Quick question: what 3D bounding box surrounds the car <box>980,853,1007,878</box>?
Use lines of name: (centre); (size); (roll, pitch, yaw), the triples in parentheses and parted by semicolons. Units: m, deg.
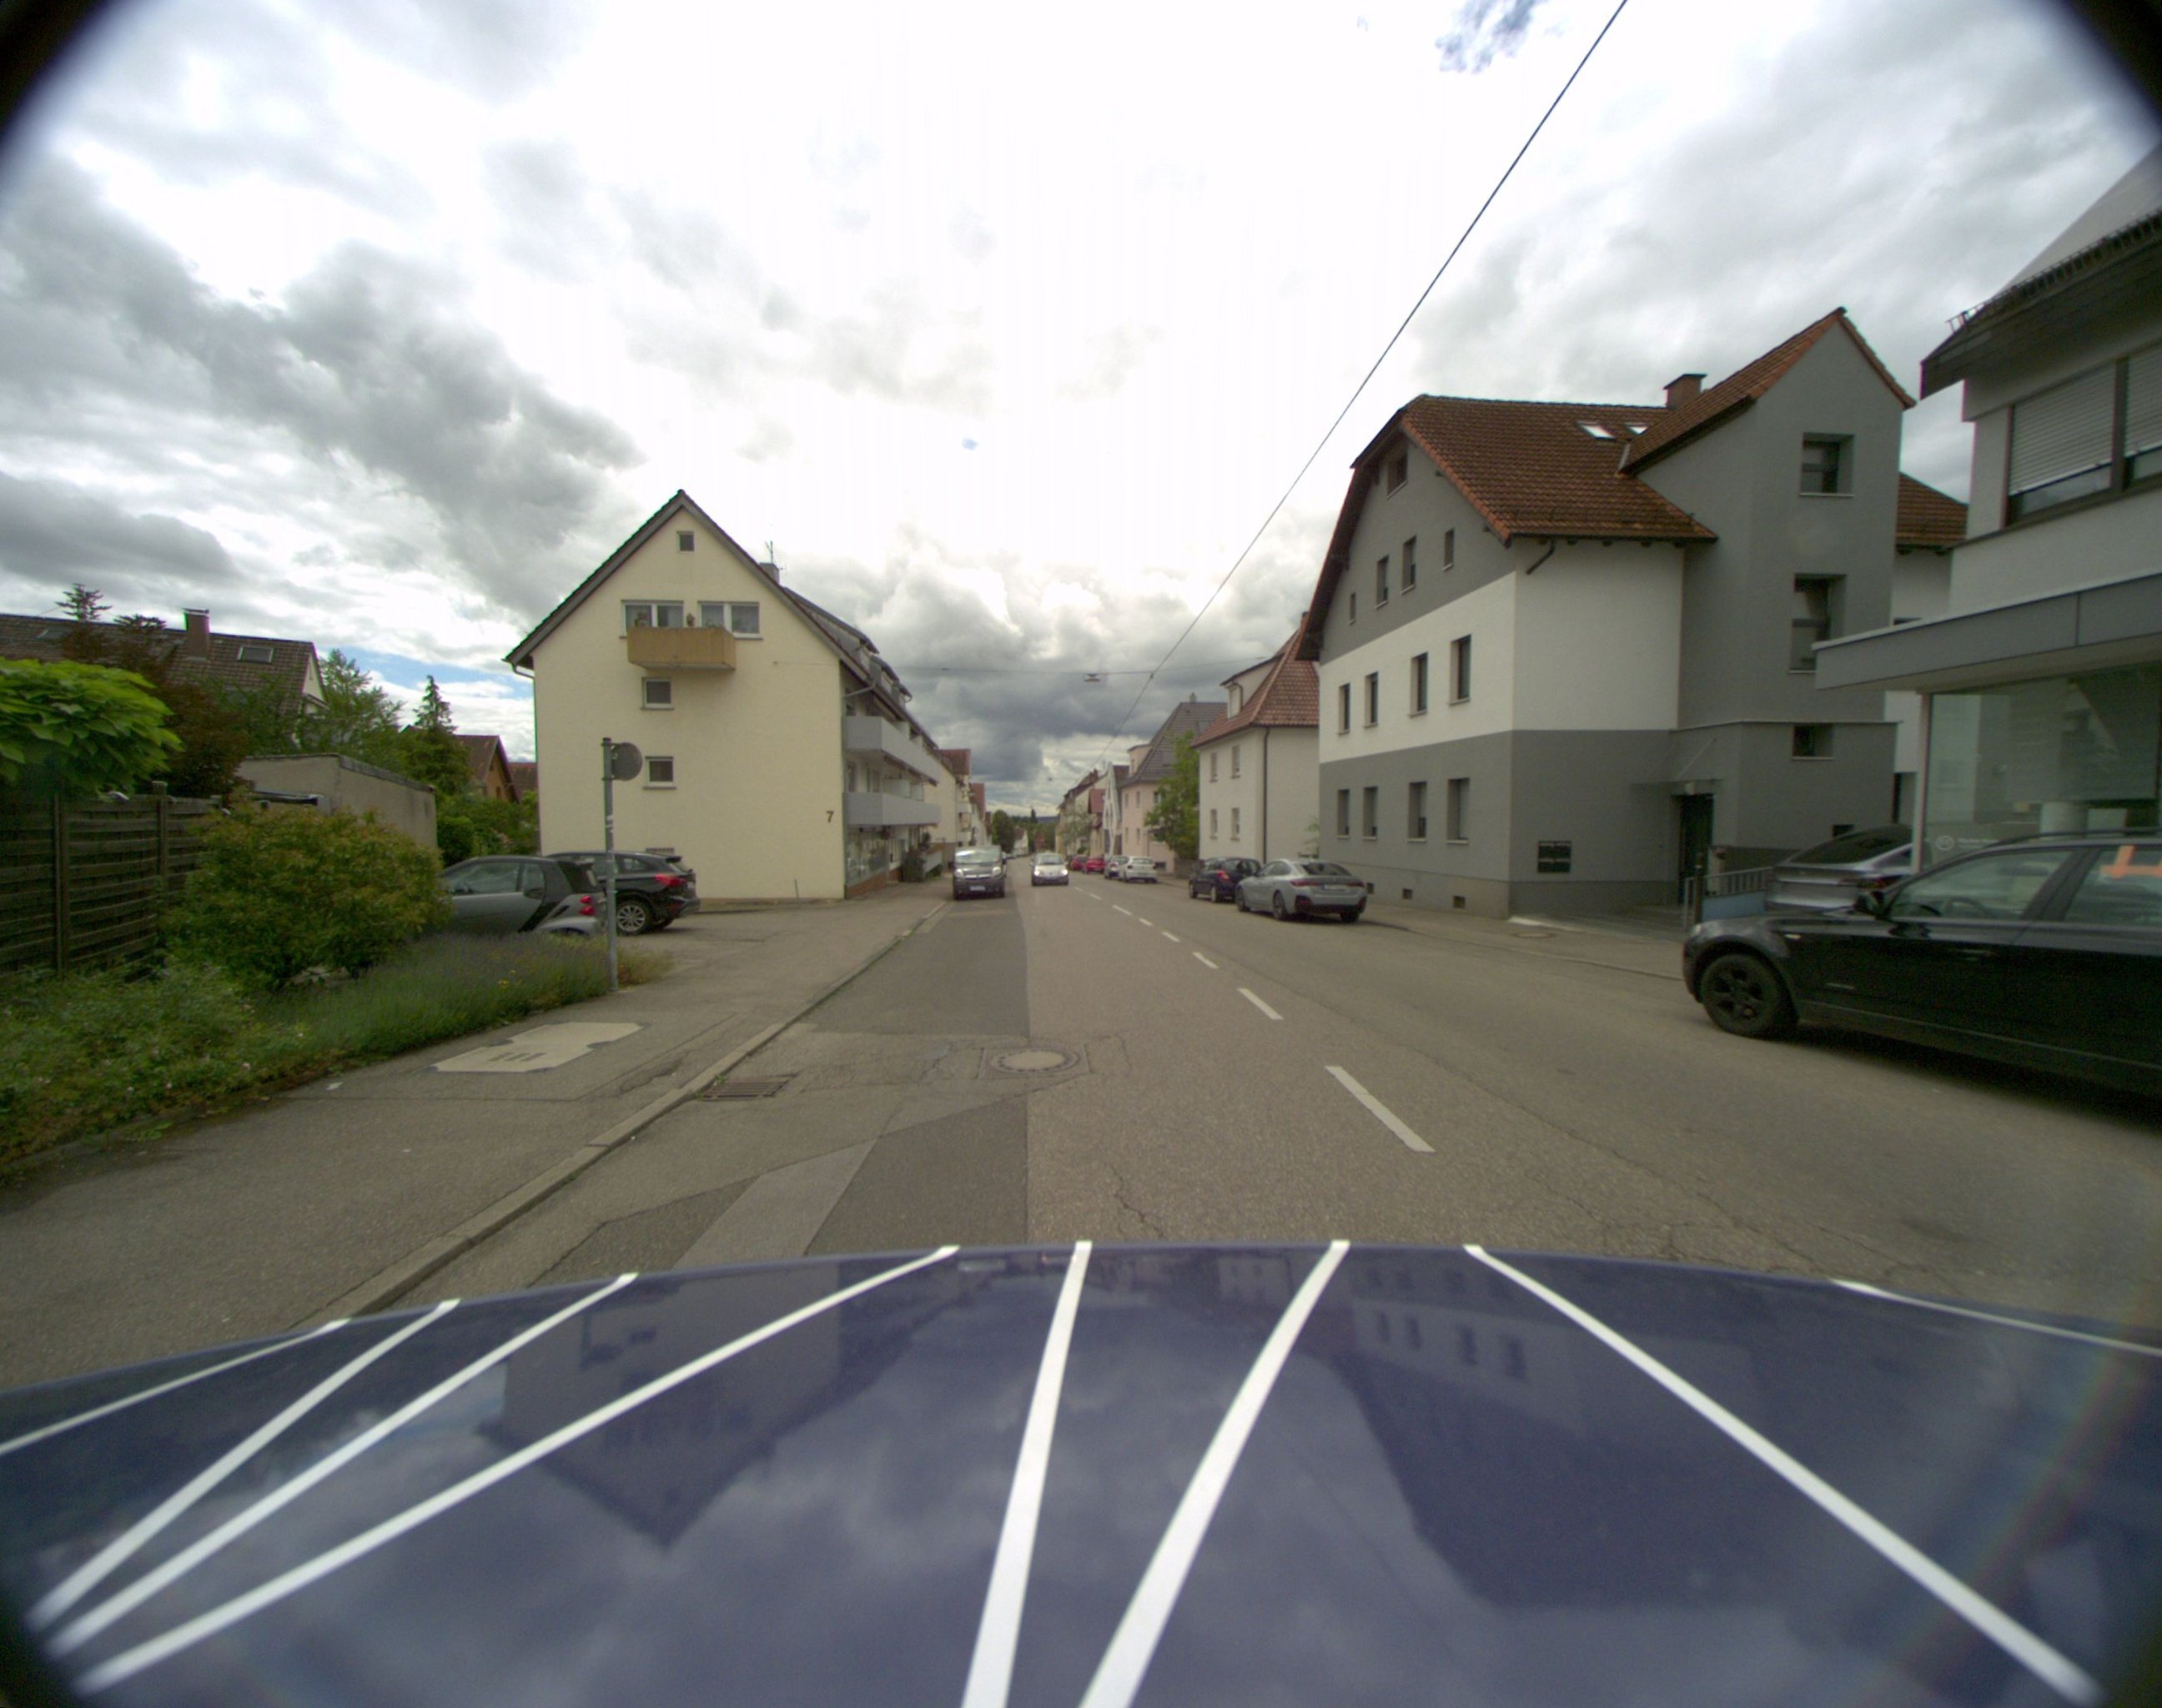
car: (-5.700, 0.736, 49.820); (1.614, 1.447, 3.311); (-2, 1, -6)

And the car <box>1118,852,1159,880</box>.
car: (3.100, 0.633, 41.650); (1.654, 1.438, 3.809); (1, 1, -5)

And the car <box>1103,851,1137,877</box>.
car: (2.361, 0.593, 46.670); (1.654, 1.438, 3.772); (1, 1, -3)

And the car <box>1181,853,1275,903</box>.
car: (4.768, 0.740, 25.229); (1.843, 1.437, 3.997); (1, 1, -8)

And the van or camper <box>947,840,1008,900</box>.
van or camper: (-3.881, 0.534, 29.056); (1.999, 2.002, 5.060); (-3, 1, -6)

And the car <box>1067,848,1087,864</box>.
car: (-0.446, 0.153, 78.617); (1.707, 1.524, 3.733); (2, 1, -6)

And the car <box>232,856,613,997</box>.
car: (-8.055, 0.792, 9.723); (3.327, 1.510, 1.700); (0, 1, -25)

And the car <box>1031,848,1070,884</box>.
car: (-1.503, 0.560, 37.492); (1.721, 1.587, 3.998); (-3, 1, -2)

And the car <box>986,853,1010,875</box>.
car: (-5.889, 0.705, 54.102); (1.585, 1.397, 3.595); (-2, 1, -6)

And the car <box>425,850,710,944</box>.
car: (-9.641, 0.752, 14.660); (4.127, 1.644, 1.902); (0, 1, -14)

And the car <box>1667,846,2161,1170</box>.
car: (6.307, 0.785, 4.600); (1.843, 1.623, 4.405); (1, 1, -5)

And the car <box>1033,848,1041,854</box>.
car: (-10.971, -0.766, 190.129); (1.707, 1.524, 3.733); (2, 1, -6)

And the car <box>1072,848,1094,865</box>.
car: (0.148, 0.265, 73.594); (1.707, 1.524, 3.733); (2, 1, -6)

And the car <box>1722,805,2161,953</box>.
car: (11.703, 0.308, 10.540); (3.998, 1.845, 1.999); (0, 1, -3)

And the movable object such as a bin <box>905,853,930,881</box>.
movable object such as a bin: (-8.811, 0.691, 40.998); (1.083, 1.429, 1.259); (-3, 1, -5)

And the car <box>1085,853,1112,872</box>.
car: (1.411, 0.676, 62.096); (1.707, 1.402, 3.733); (2, 1, -6)

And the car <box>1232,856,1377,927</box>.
car: (5.261, 0.813, 18.580); (1.843, 1.437, 4.465); (1, 1, -5)
